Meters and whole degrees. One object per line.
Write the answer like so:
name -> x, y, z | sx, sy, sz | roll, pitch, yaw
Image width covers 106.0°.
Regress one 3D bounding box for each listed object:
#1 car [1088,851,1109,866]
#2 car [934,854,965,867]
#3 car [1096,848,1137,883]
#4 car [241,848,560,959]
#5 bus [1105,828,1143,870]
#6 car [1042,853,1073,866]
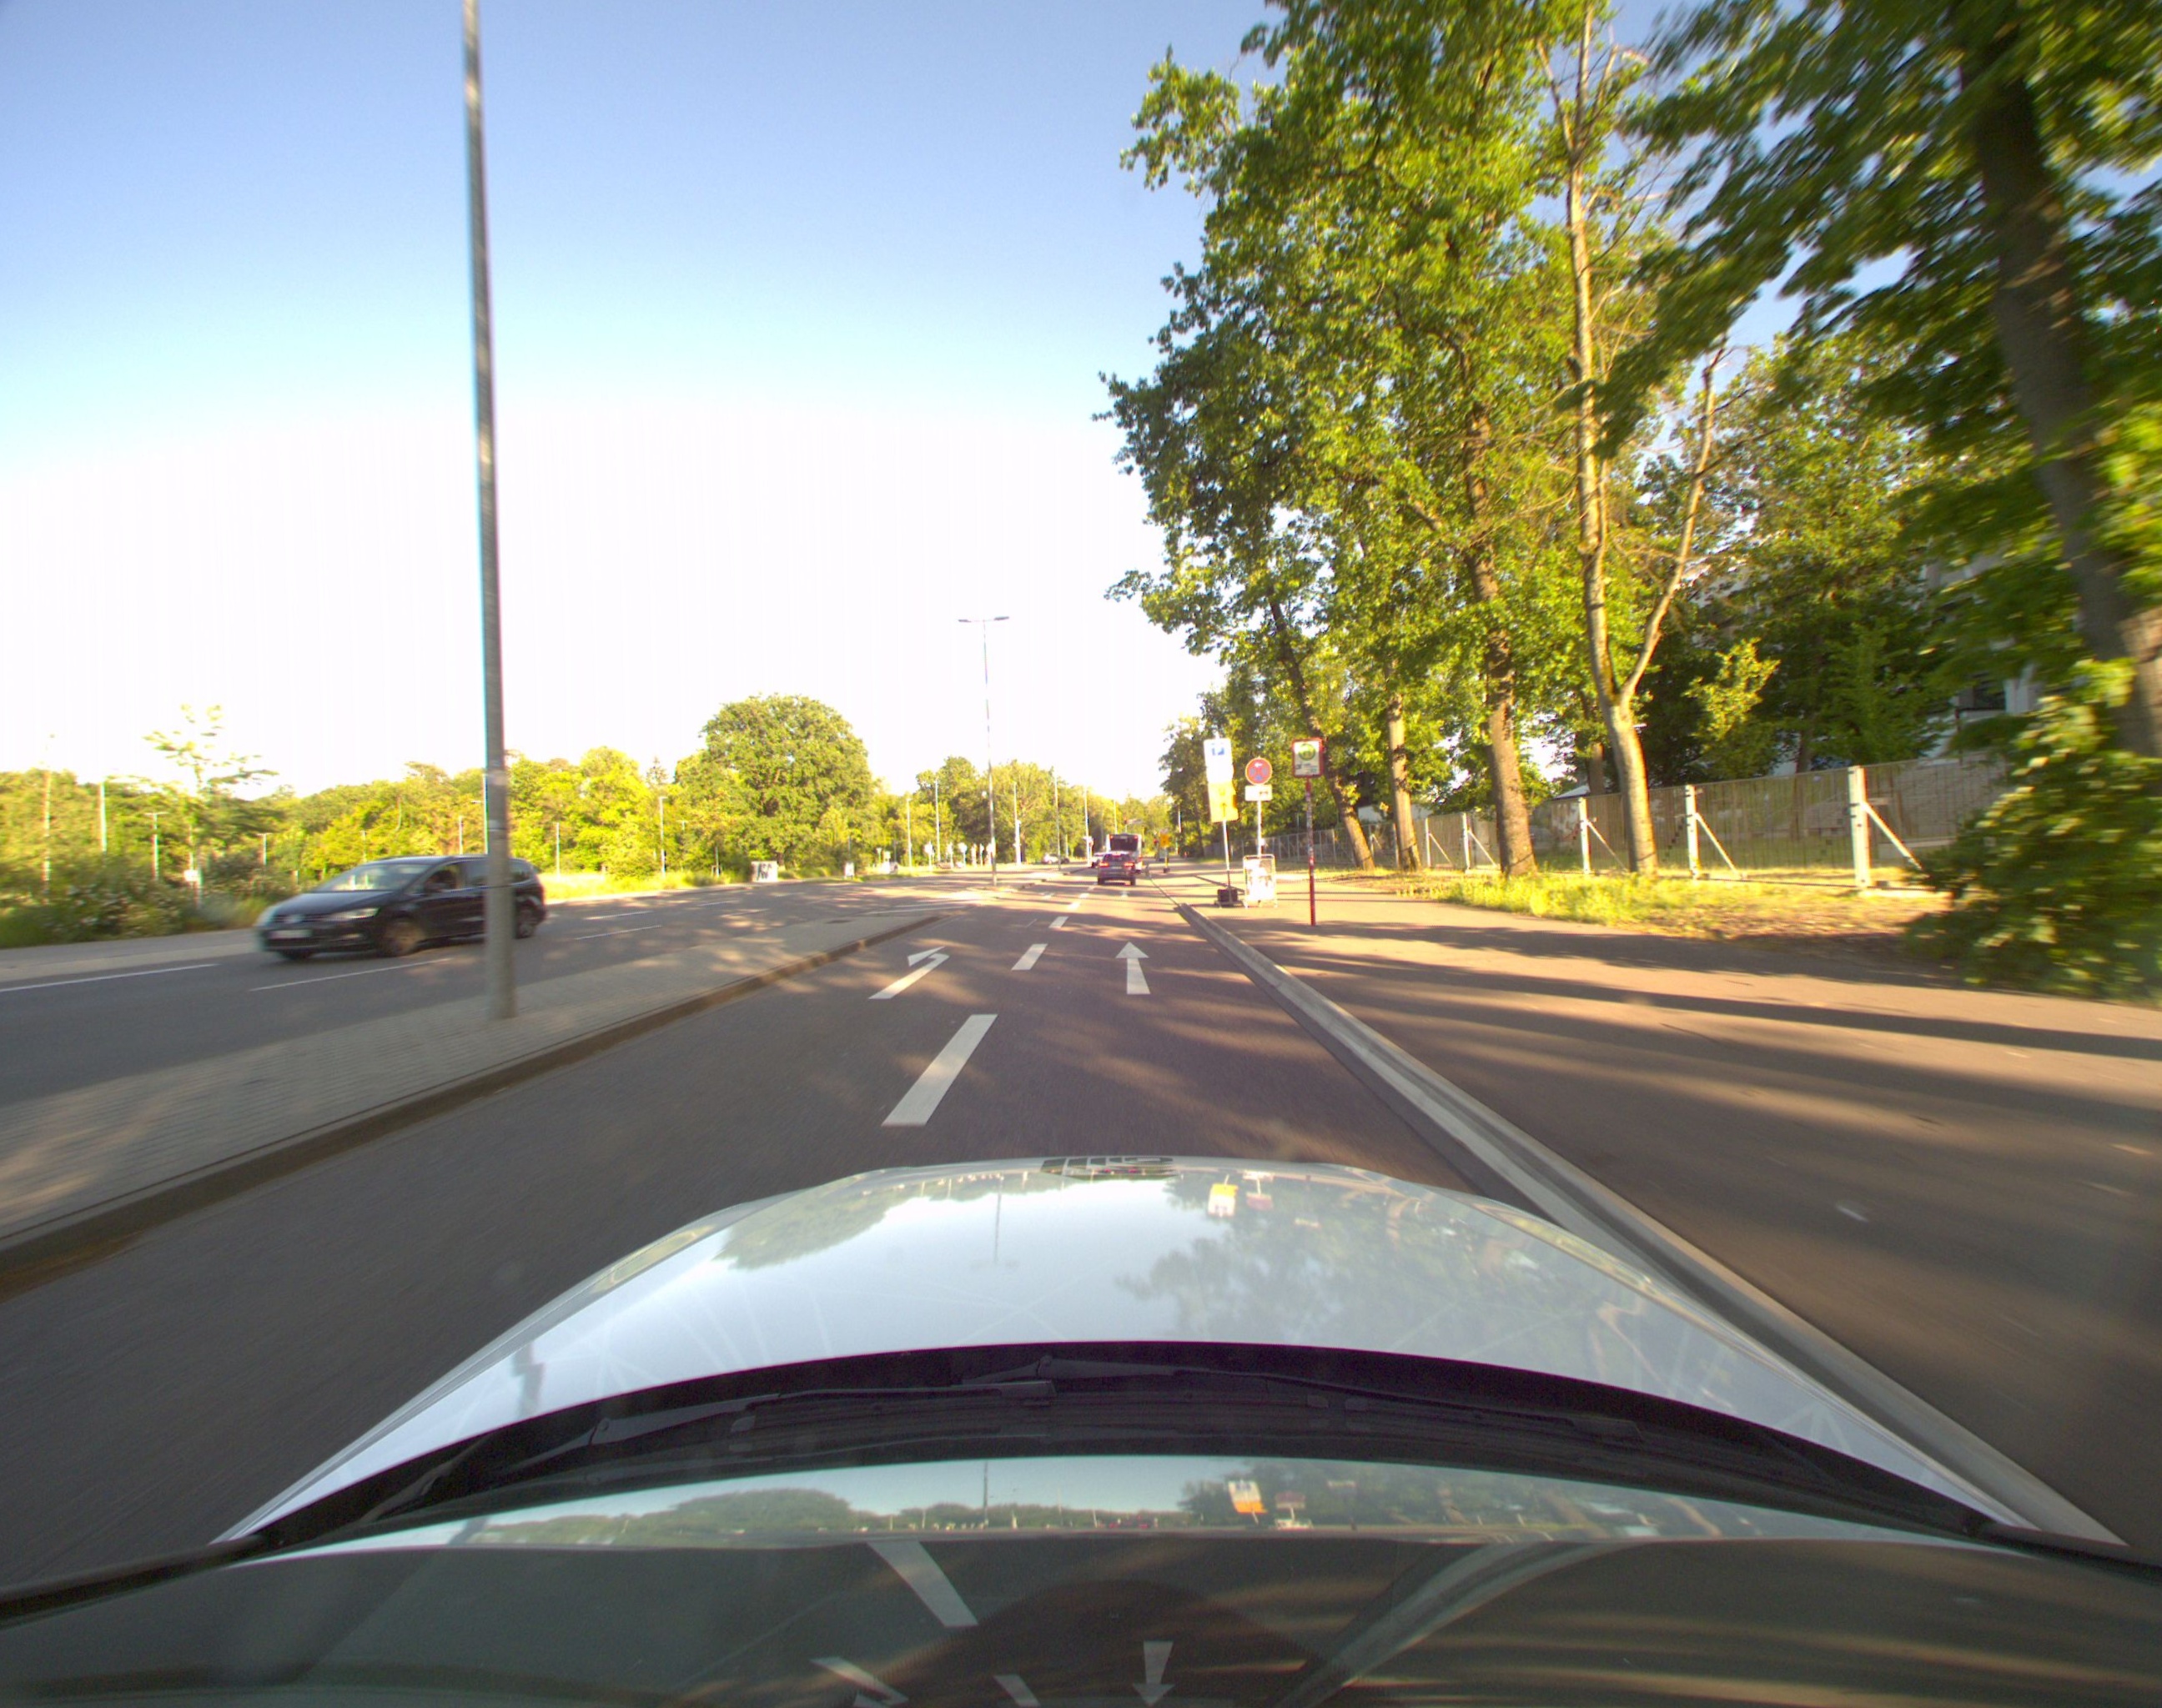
car -> 1.817, 0.449, 82.878 | 1.828, 1.518, 4.005 | -1, 0, 5
car -> -18.587, 0.978, 115.194 | 3.977, 1.640, 2.064 | -3, -1, -2
car -> 1.806, 0.557, 40.864 | 1.890, 1.632, 4.005 | 0, 0, 5
car -> -11.929, 0.751, 14.834 | 1.777, 1.692, 4.703 | 0, 0, 1
bus -> 3.403, -0.302, 61.988 | 2.582, 2.989, 9.338 | 0, -1, 5
car -> -3.312, 0.826, 117.088 | 4.202, 1.585, 2.105 | -3, 0, 2
